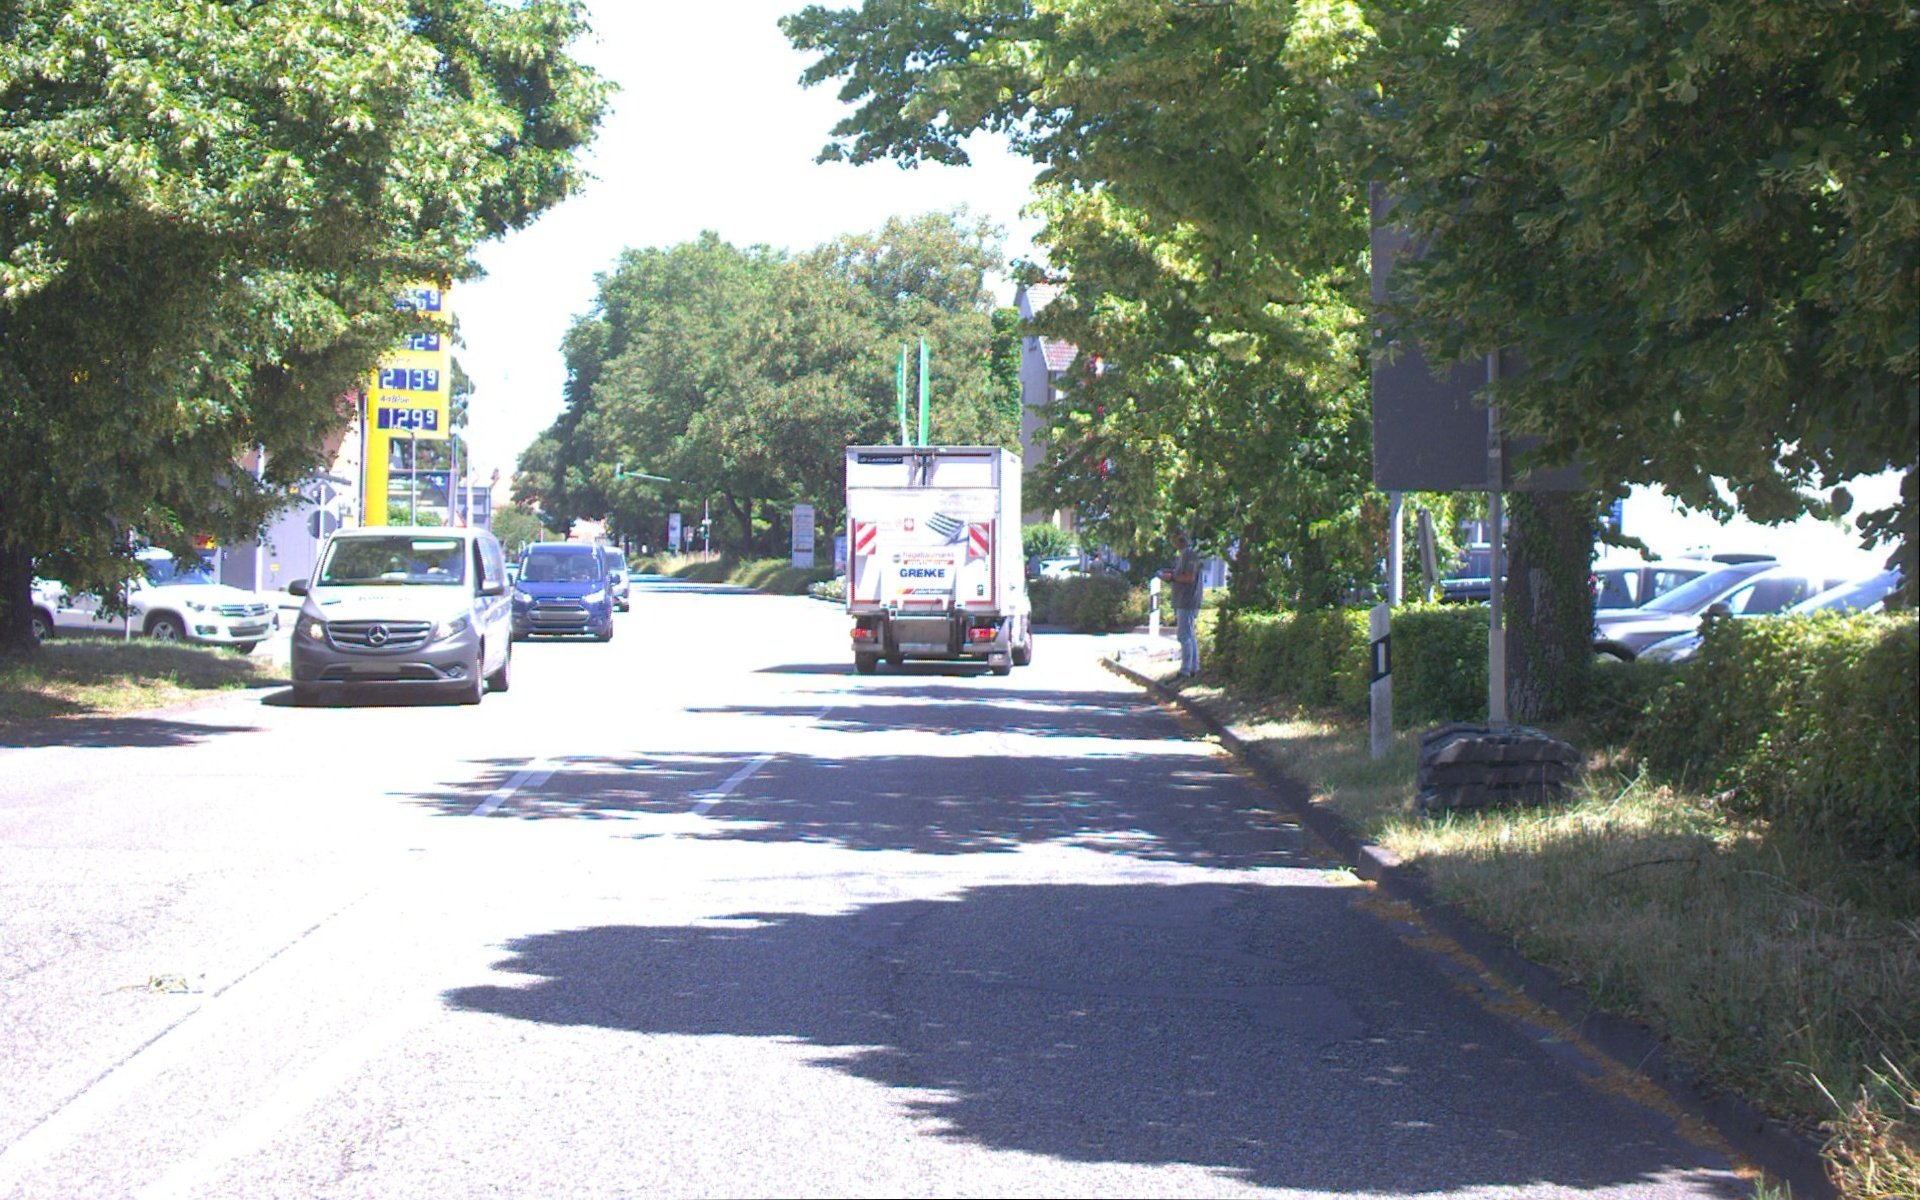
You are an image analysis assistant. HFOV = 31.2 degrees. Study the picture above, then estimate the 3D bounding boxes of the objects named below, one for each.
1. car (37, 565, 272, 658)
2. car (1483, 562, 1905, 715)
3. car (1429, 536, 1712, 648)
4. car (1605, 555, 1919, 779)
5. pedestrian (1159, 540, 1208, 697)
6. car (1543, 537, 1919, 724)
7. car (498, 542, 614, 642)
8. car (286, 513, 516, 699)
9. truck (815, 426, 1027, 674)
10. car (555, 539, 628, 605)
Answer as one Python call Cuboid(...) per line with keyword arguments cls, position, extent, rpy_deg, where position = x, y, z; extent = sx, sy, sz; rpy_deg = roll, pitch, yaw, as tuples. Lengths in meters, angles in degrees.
Cuboid(cls="car", position=(-12.230, 0.158, 52.148), extent=(3.428, 1.357, 1.333), rpy_deg=(1, 1, 27))
Cuboid(cls="car", position=(7.489, 0.377, 35.313), extent=(3.945, 1.505, 1.706), rpy_deg=(0, 1, -1))
Cuboid(cls="car", position=(8.419, -0.113, 47.614), extent=(3.565, 1.503, 1.762), rpy_deg=(0, 1, -1))
Cuboid(cls="car", position=(7.002, 0.457, 24.599), extent=(4.391, 1.533, 1.831), rpy_deg=(0, 1, -1))
Cuboid(cls="pedestrian", position=(2.541, 0.204, 39.124), extent=(0.548, 1.770, 0.577), rpy_deg=(0, 1, 3))
Cuboid(cls="car", position=(7.326, 0.249, 30.030), extent=(4.106, 1.571, 1.867), rpy_deg=(0, 1, -1))
Cuboid(cls="car", position=(-7.308, -0.174, 62.544), extent=(1.744, 1.740, 4.579), rpy_deg=(0, 1, -2))
Cuboid(cls="car", position=(-5.926, 0.031, 37.000), extent=(1.993, 1.850, 5.317), rpy_deg=(0, 1, -4))
Cuboid(cls="truck", position=(-0.450, -0.708, 46.291), extent=(2.534, 3.124, 5.361), rpy_deg=(0, 2, 3))
Cuboid(cls="car", position=(-10.126, -0.776, 94.696), extent=(1.728, 1.754, 3.962), rpy_deg=(0, 1, -2))
